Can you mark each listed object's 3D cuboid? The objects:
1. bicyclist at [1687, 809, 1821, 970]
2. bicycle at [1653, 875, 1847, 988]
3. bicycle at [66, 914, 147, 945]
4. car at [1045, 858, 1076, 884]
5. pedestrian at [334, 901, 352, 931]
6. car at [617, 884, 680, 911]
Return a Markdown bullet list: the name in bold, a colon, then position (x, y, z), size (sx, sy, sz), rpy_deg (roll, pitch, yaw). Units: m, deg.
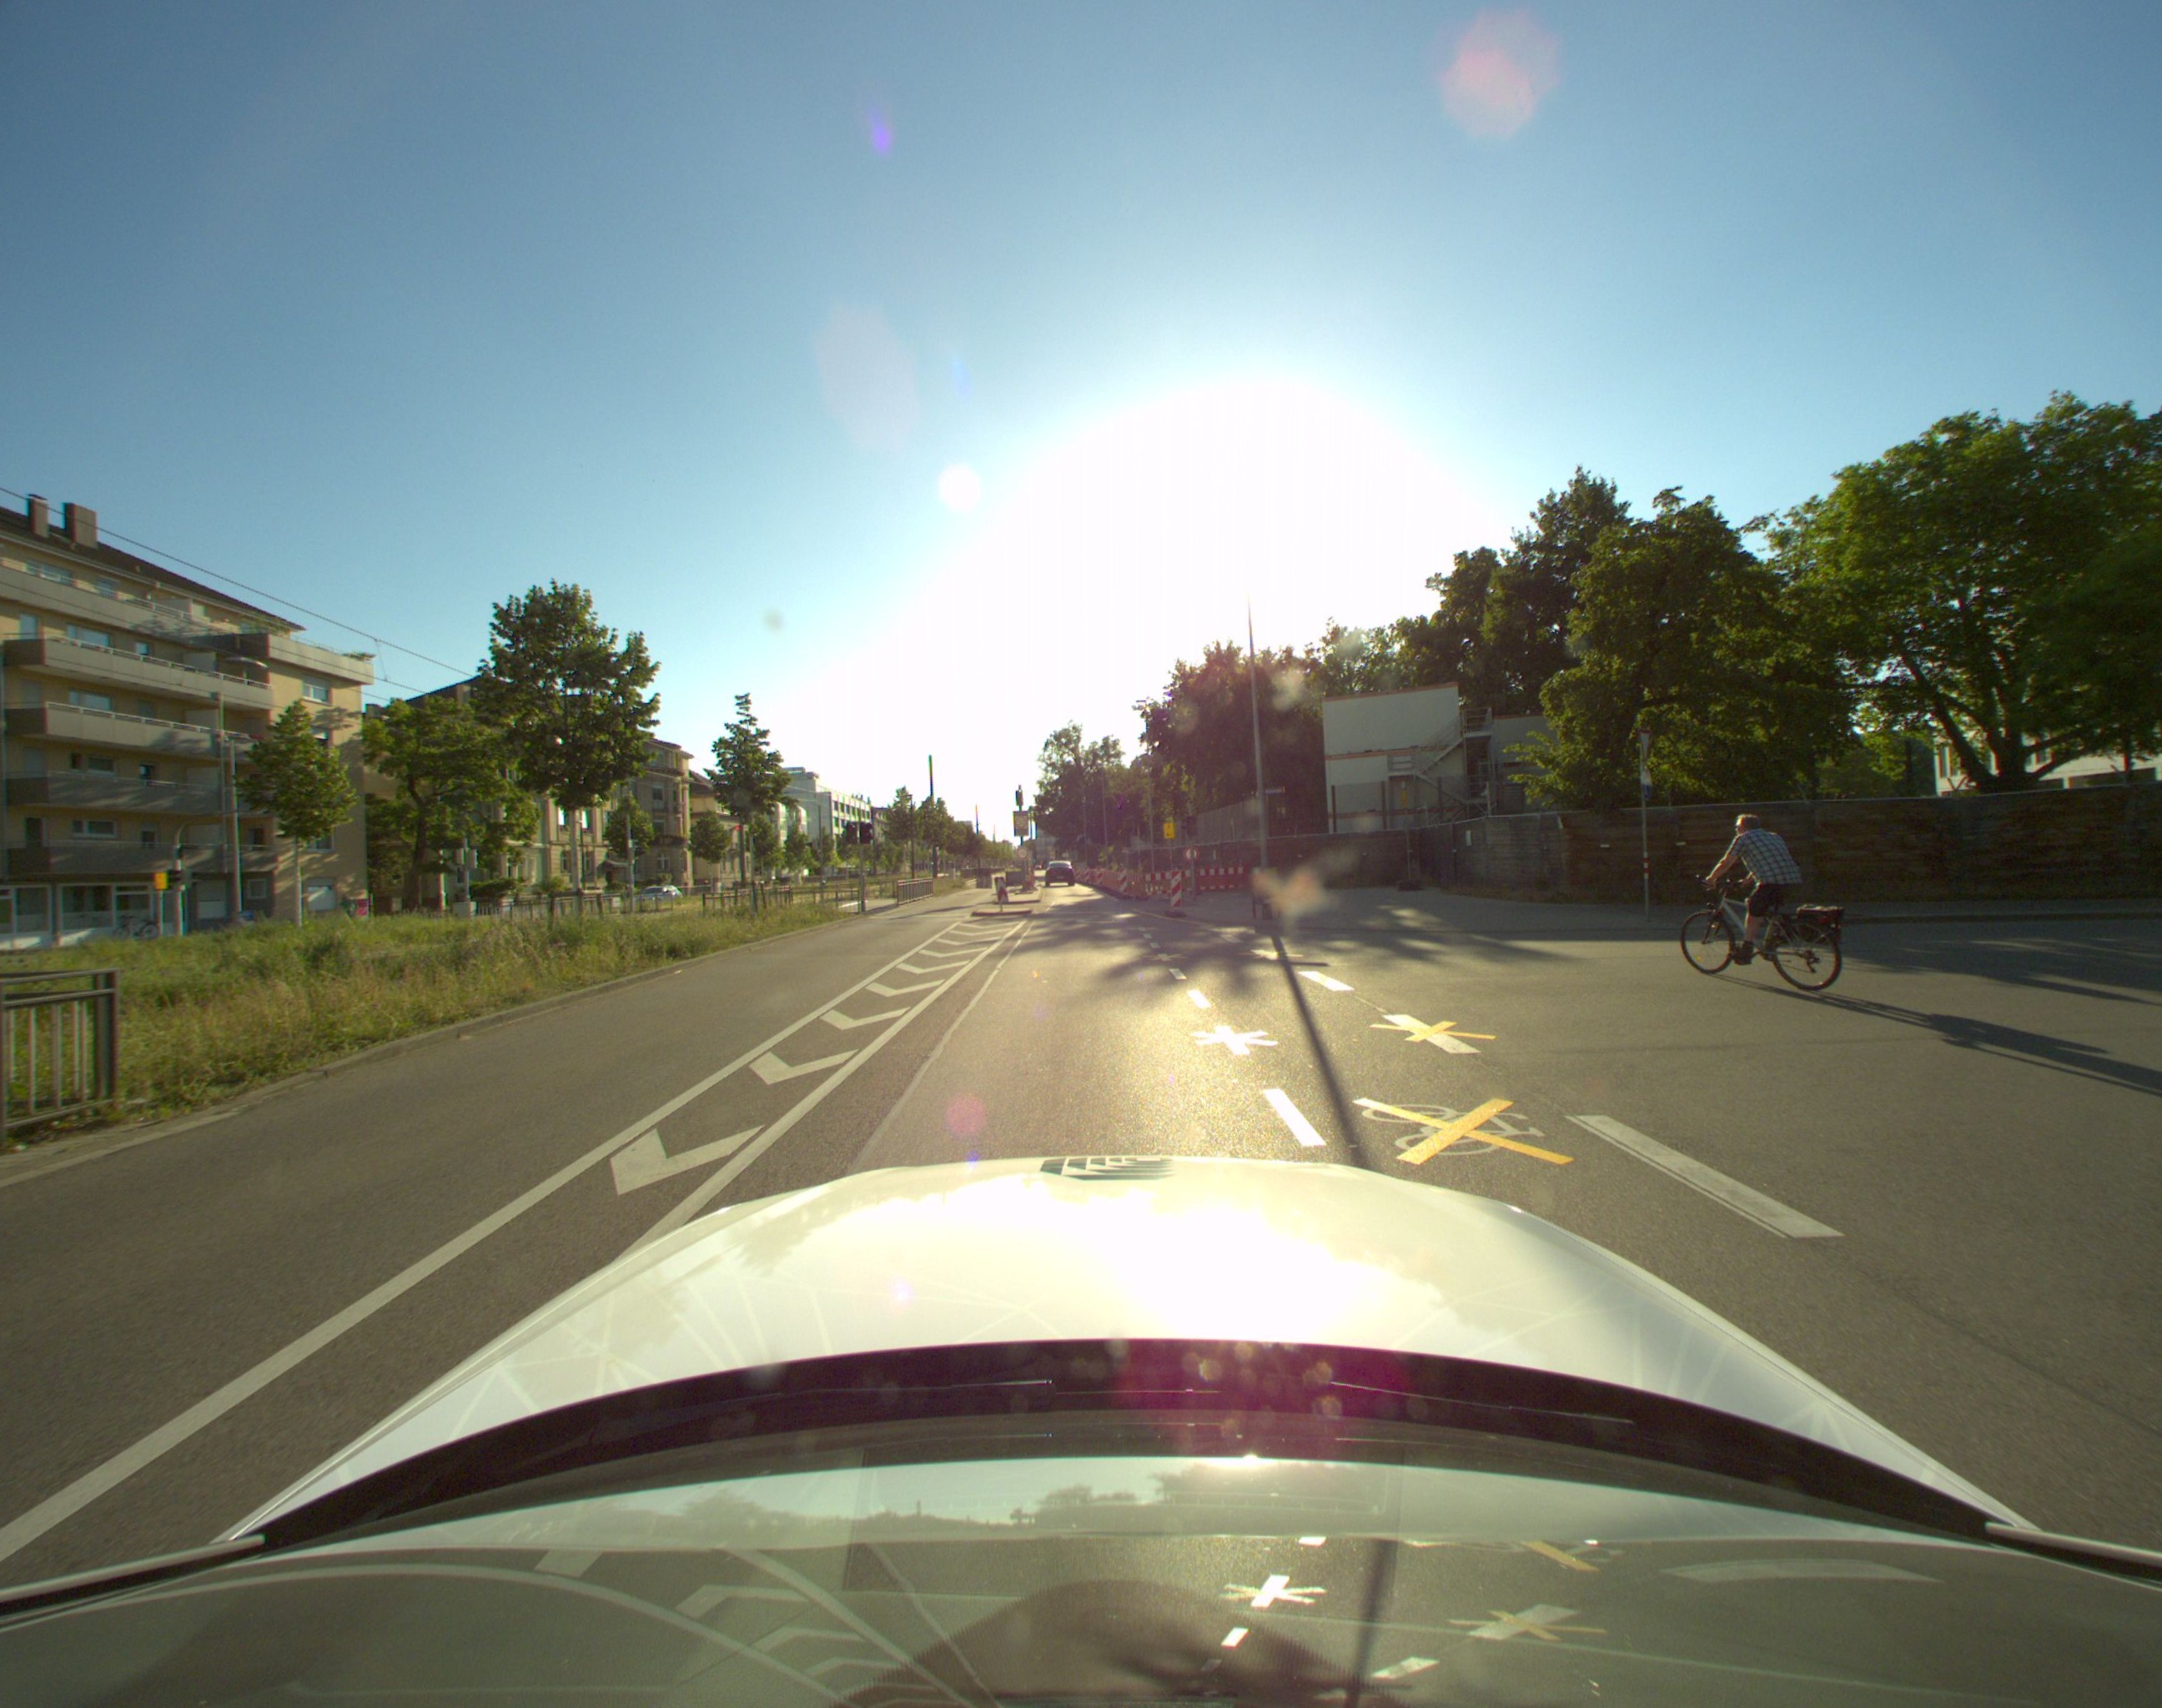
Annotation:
- **bicyclist**: position (7.186, 0.362, 8.738), size (0.582, 1.614, 0.902), rpy_deg (-3, -1, -3)
- **bicycle**: position (7.181, 0.777, 8.880), size (0.426, 1.061, 1.909), rpy_deg (-3, -1, -2)
- **bicycle**: position (-43.064, 3.321, 36.032), size (0.529, 1.137, 2.583), rpy_deg (-3, -1, -3)
- **car**: position (-1.452, 1.186, 56.420), size (2.001, 1.659, 3.995), rpy_deg (-1, -1, -3)
- **pedestrian**: position (-39.588, 3.335, 43.700), size (0.518, 1.555, 0.448), rpy_deg (-3, -1, -4)
- **car**: position (-27.712, 2.777, 52.368), size (1.772, 1.463, 4.656), rpy_deg (-2, -1, -4)
